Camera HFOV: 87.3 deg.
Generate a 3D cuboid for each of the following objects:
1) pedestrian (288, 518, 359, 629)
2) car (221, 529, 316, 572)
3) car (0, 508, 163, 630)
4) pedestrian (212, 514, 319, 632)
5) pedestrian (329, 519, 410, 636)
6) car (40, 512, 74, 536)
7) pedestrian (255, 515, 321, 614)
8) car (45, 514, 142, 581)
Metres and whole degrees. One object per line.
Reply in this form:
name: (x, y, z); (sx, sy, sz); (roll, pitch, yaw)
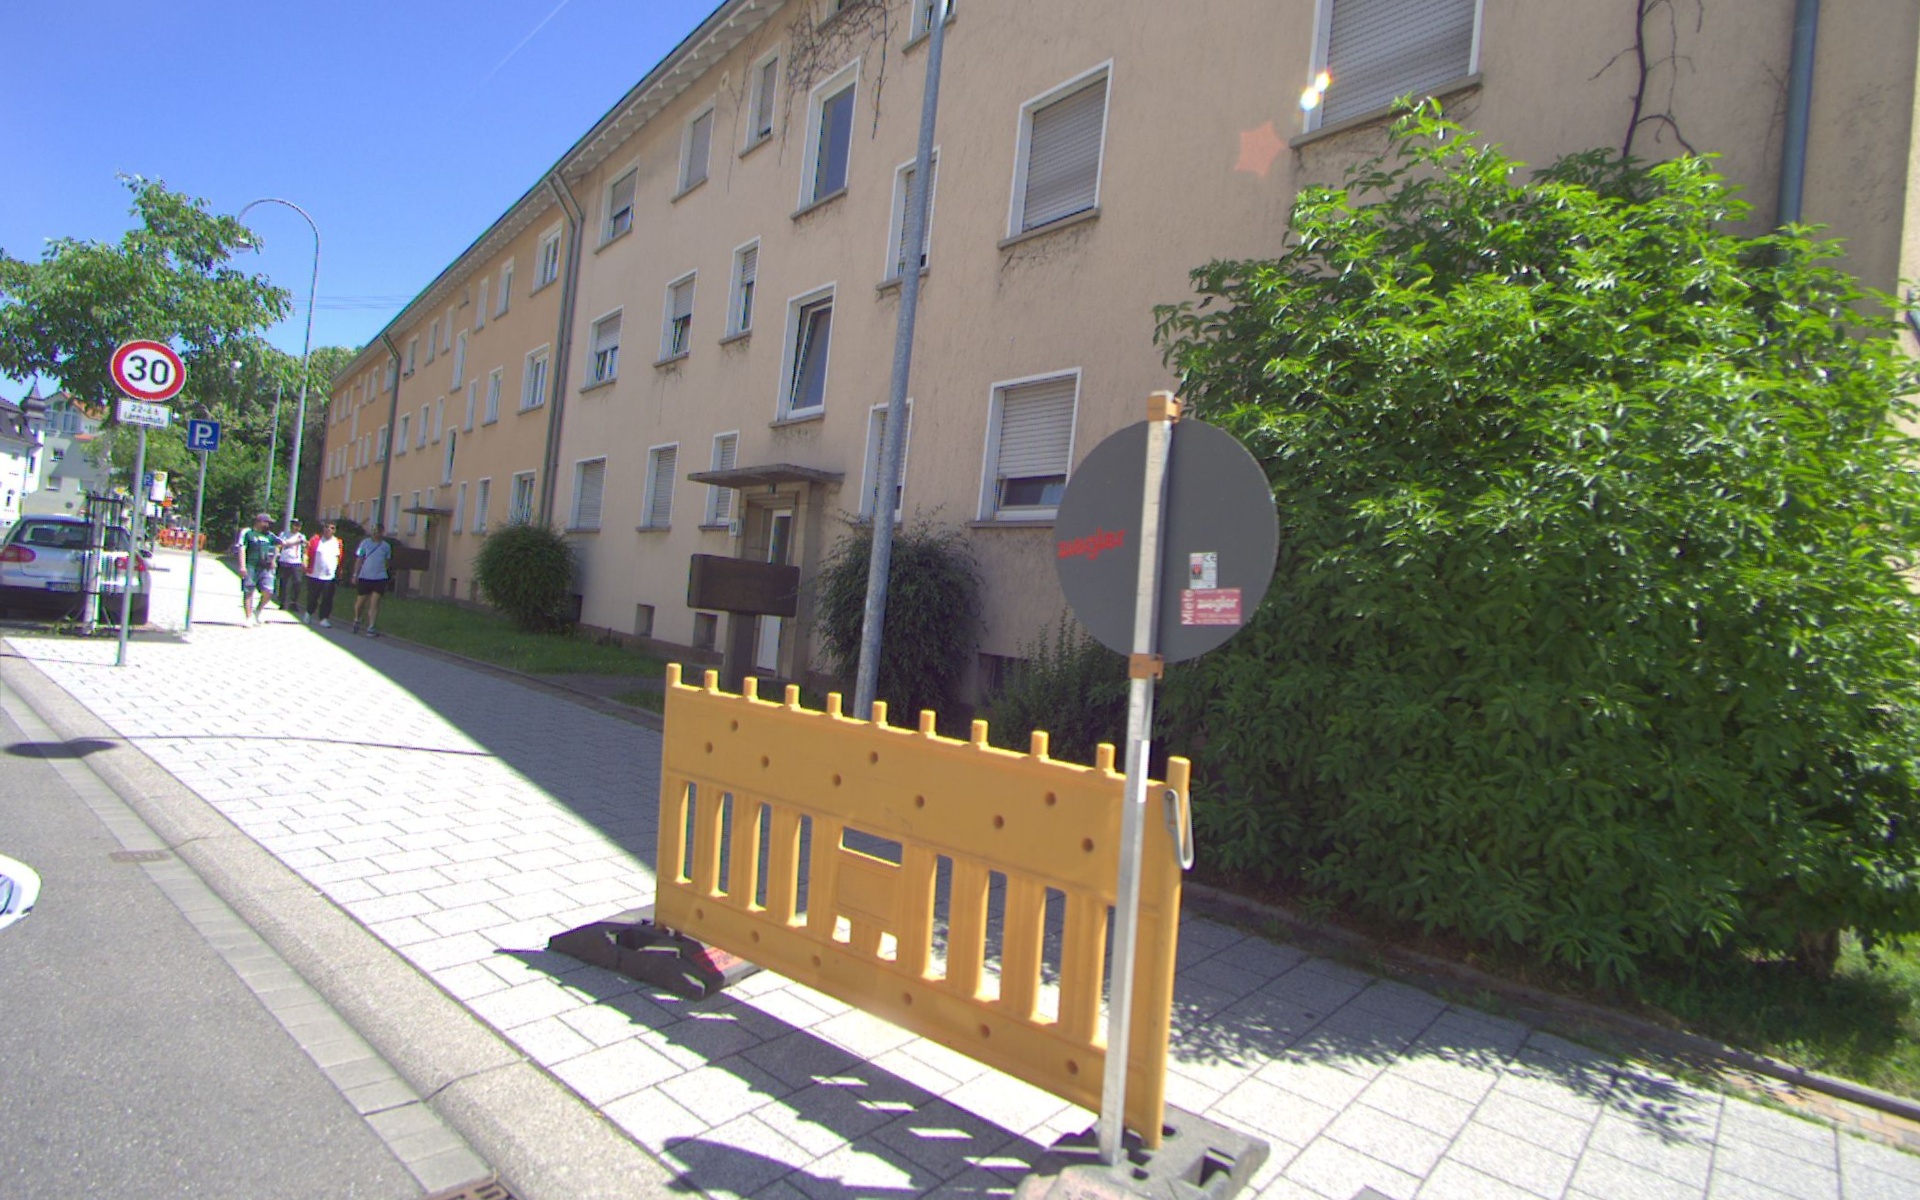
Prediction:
pedestrian: (-11.034, -0.459, 17.435); (0.784, 1.835, 0.994); (3, 2, -43)
car: (-42.126, -2.995, 61.358); (1.726, 1.859, 4.334); (5, -3, 42)
car: (-13.555, -0.501, 15.295); (1.807, 1.495, 4.453); (6, -1, -43)
pedestrian: (-11.104, -0.424, 16.085); (1.166, 1.755, 1.177); (3, 1, -44)
pedestrian: (-9.667, -0.377, 16.465); (0.791, 1.800, 0.996); (6, 0, -43)
car: (-73.369, -6.176, 81.809); (1.869, 1.617, 4.310); (5, 0, -41)
pedestrian: (-13.476, -0.713, 20.169); (0.817, 1.876, 0.972); (6, 0, -43)
car: (-23.887, -1.478, 27.872); (1.824, 1.523, 5.008); (5, 1, -40)
